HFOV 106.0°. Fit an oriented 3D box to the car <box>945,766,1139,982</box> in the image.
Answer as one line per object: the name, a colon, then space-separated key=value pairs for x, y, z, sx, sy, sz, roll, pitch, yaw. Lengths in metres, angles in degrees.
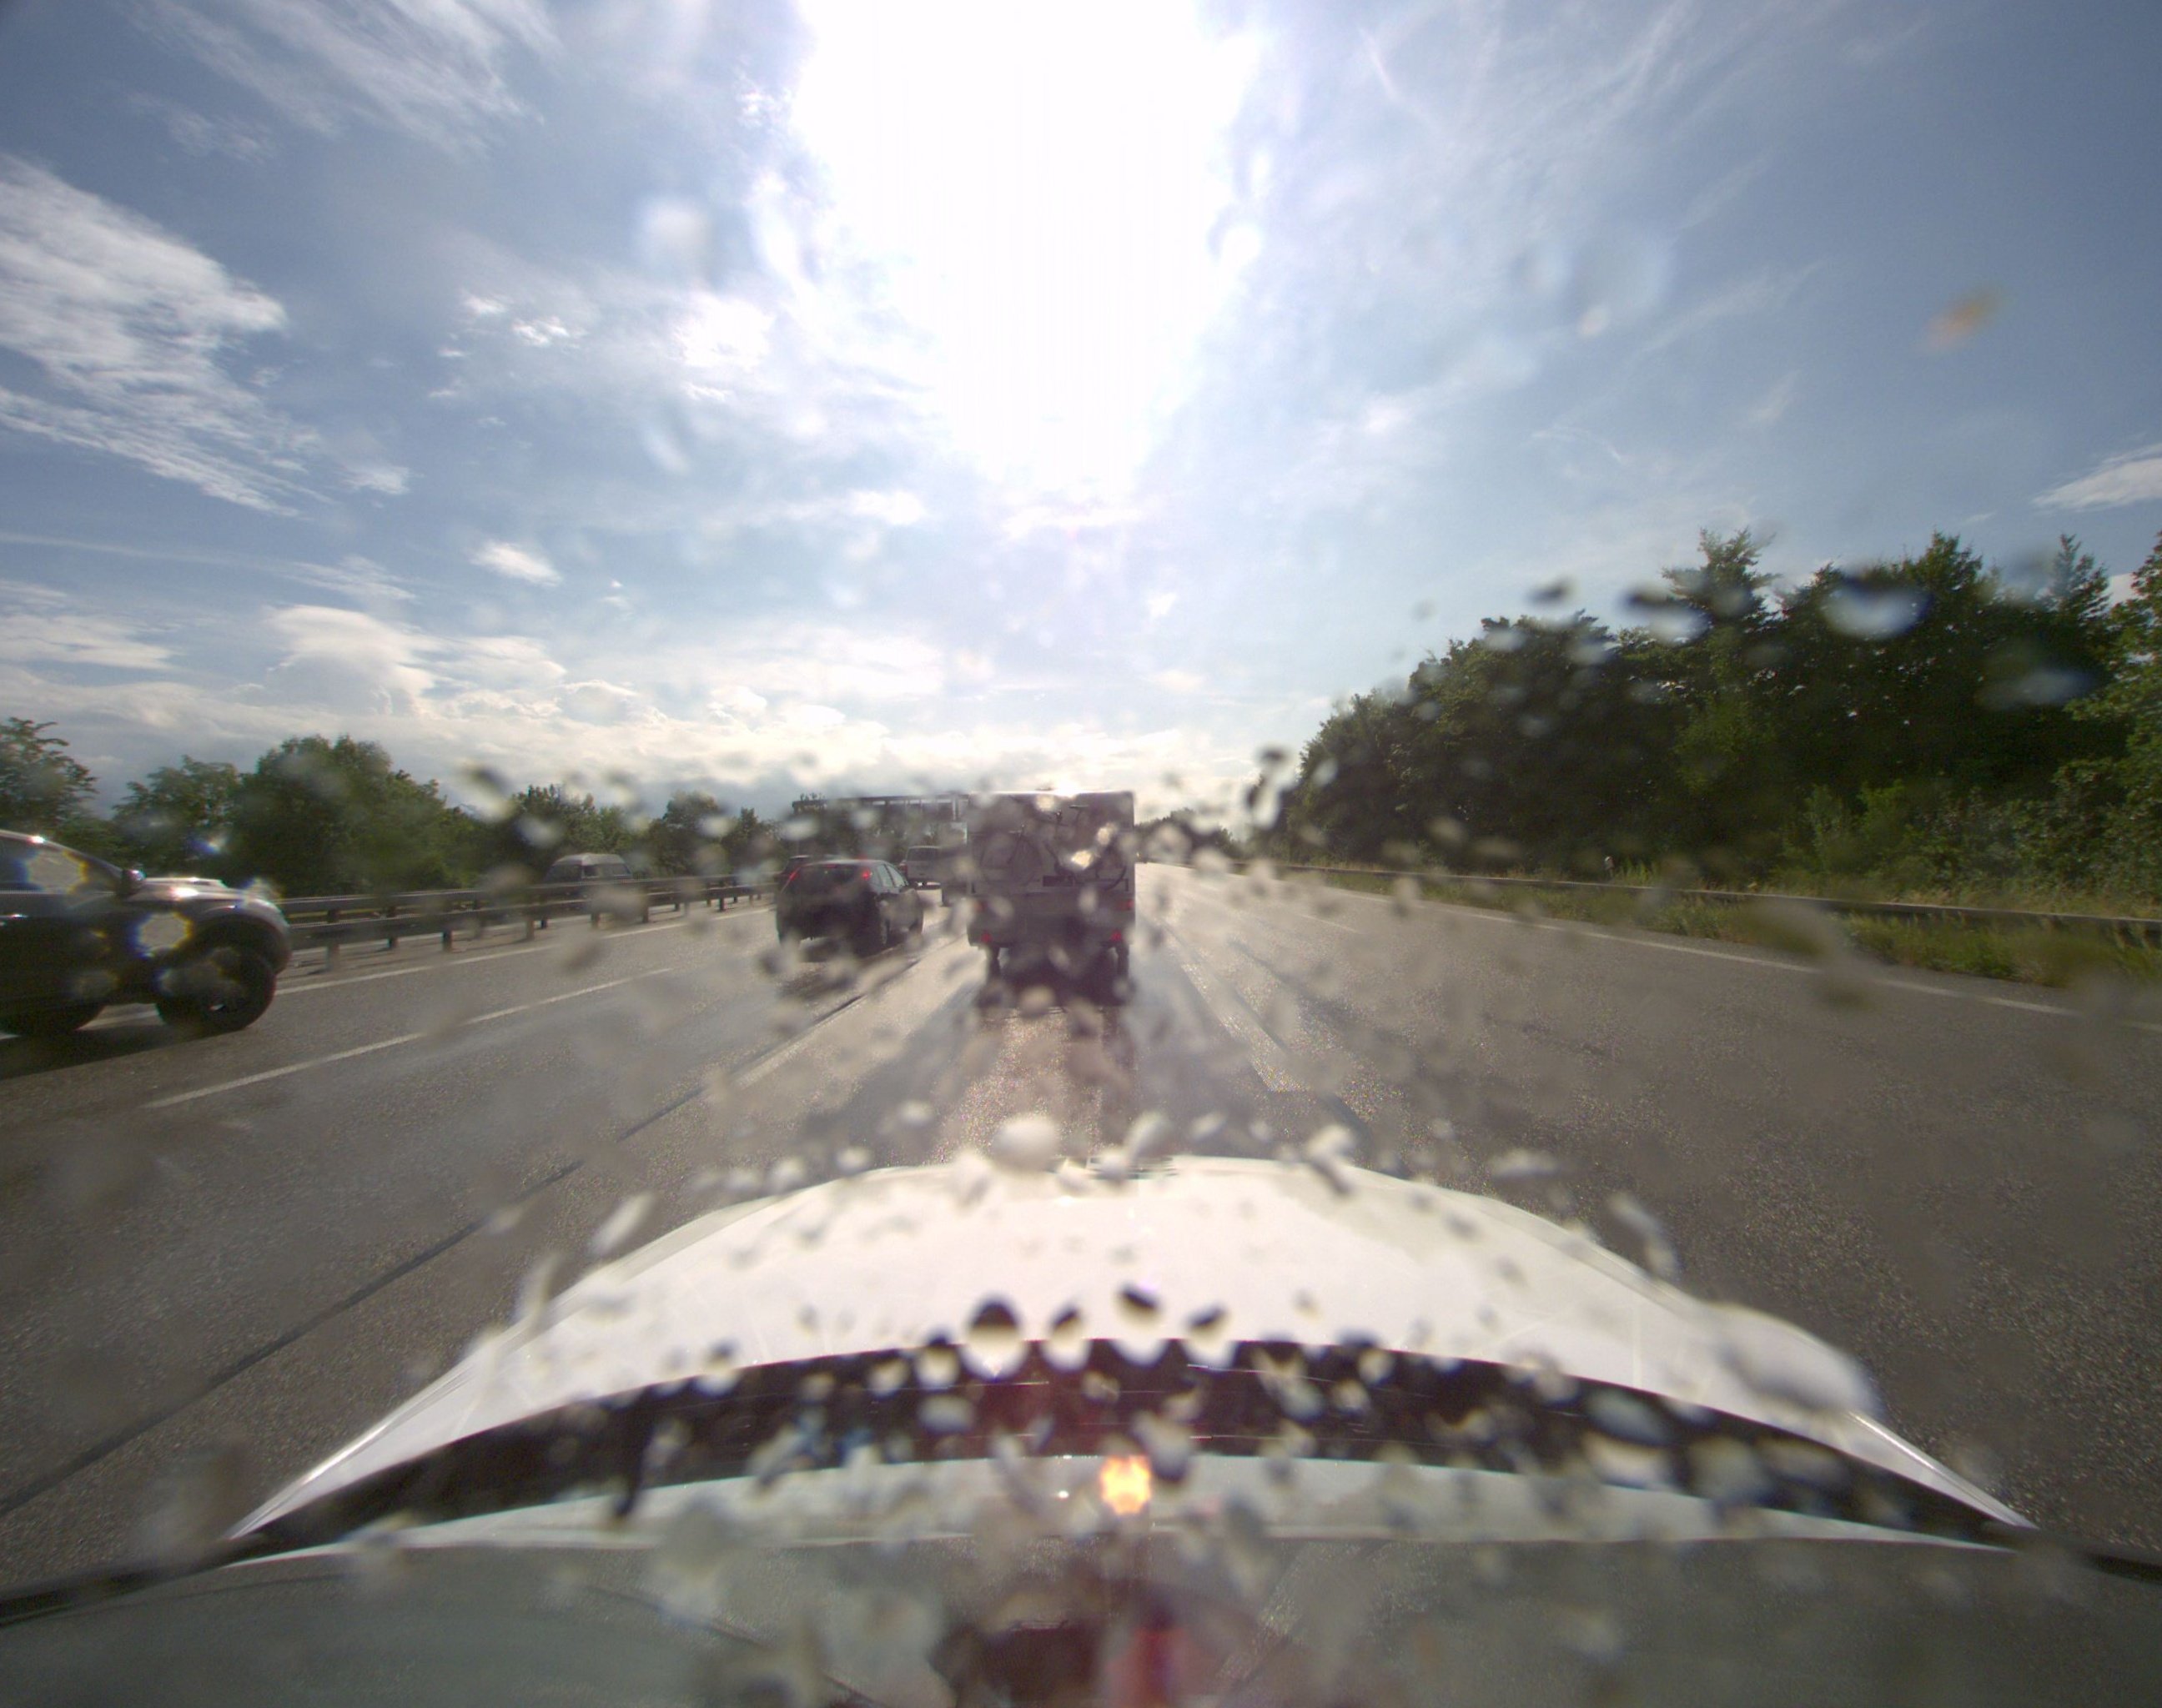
car: x=-0.414 y=0.258 z=12.151 sx=2.401 sy=2.674 sz=4.002 roll=0 pitch=0 yaw=2

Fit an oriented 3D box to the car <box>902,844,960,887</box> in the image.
car: x=-7.292 y=0.532 z=40.143 sx=1.841 sy=1.934 sz=5.016 roll=-1 pitch=0 yaw=1

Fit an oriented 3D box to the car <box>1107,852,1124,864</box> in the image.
car: x=4.450 y=0.479 z=105.818 sx=1.831 sy=1.557 sz=3.996 roll=0 pitch=0 yaw=-2

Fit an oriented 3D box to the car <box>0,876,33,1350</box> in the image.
car: x=-4.236 y=0.803 z=0.539 sx=1.743 sy=1.433 sz=4.056 roll=-1 pitch=0 yaw=2

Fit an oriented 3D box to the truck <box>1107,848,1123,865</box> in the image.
truck: x=5.241 y=0.373 z=125.476 sx=2.406 sy=2.443 sz=6.056 roll=-1 pitch=0 yaw=2

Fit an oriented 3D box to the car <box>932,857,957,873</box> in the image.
car: x=-13.422 y=1.089 z=80.382 sx=1.839 sy=1.451 sz=3.633 roll=-1 pitch=0 yaw=0

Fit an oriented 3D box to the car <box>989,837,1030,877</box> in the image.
car: x=-3.697 y=0.157 z=42.756 sx=1.871 sy=2.014 sz=3.998 roll=0 pitch=0 yaw=-1

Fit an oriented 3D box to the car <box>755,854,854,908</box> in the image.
car: x=-8.709 y=0.788 z=25.977 sx=1.777 sy=1.578 sz=3.915 roll=-1 pitch=0 yaw=0

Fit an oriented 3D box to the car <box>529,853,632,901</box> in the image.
car: x=-22.689 y=0.999 z=37.144 sx=1.987 sy=2.013 sz=4.361 roll=-1 pitch=0 yaw=-1

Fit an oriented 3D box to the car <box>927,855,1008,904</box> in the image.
car: x=-3.650 y=0.787 z=26.889 sx=1.980 sy=1.458 sz=3.828 roll=-1 pitch=0 yaw=2

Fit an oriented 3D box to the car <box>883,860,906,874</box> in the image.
car: x=-21.973 y=1.511 z=96.001 sx=1.728 sy=1.650 sz=3.810 roll=-1 pitch=0 yaw=0

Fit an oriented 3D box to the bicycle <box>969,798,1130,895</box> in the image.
bicycle: x=-0.370 y=-0.091 z=9.950 sx=1.926 sy=1.141 sz=0.384 roll=0 pitch=-1 yaw=2

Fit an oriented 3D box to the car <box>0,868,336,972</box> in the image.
car: x=-15.516 y=1.005 z=13.969 sx=1.661 sy=1.442 sz=4.002 roll=-1 pitch=0 yaw=2

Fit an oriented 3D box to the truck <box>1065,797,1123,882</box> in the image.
truck: x=0.768 y=-0.770 z=50.075 sx=3.135 sy=4.626 sz=10.735 roll=-1 pitch=0 yaw=0

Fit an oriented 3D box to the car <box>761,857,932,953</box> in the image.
car: x=-4.009 y=0.804 z=14.633 sx=1.752 sy=1.443 sz=4.002 roll=-1 pitch=0 yaw=2

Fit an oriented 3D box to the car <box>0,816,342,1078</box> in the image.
car: x=-8.518 y=0.667 z=5.579 sx=1.799 sy=1.844 sz=5.421 roll=-1 pitch=0 yaw=2

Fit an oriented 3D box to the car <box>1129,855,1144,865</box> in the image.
car: x=8.386 y=0.918 z=123.320 sx=1.871 sy=1.494 sz=3.998 roll=0 pitch=0 yaw=-1

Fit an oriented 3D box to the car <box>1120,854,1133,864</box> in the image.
car: x=7.850 y=0.815 z=141.393 sx=1.872 sy=1.629 sz=3.996 roll=0 pitch=0 yaw=-3
